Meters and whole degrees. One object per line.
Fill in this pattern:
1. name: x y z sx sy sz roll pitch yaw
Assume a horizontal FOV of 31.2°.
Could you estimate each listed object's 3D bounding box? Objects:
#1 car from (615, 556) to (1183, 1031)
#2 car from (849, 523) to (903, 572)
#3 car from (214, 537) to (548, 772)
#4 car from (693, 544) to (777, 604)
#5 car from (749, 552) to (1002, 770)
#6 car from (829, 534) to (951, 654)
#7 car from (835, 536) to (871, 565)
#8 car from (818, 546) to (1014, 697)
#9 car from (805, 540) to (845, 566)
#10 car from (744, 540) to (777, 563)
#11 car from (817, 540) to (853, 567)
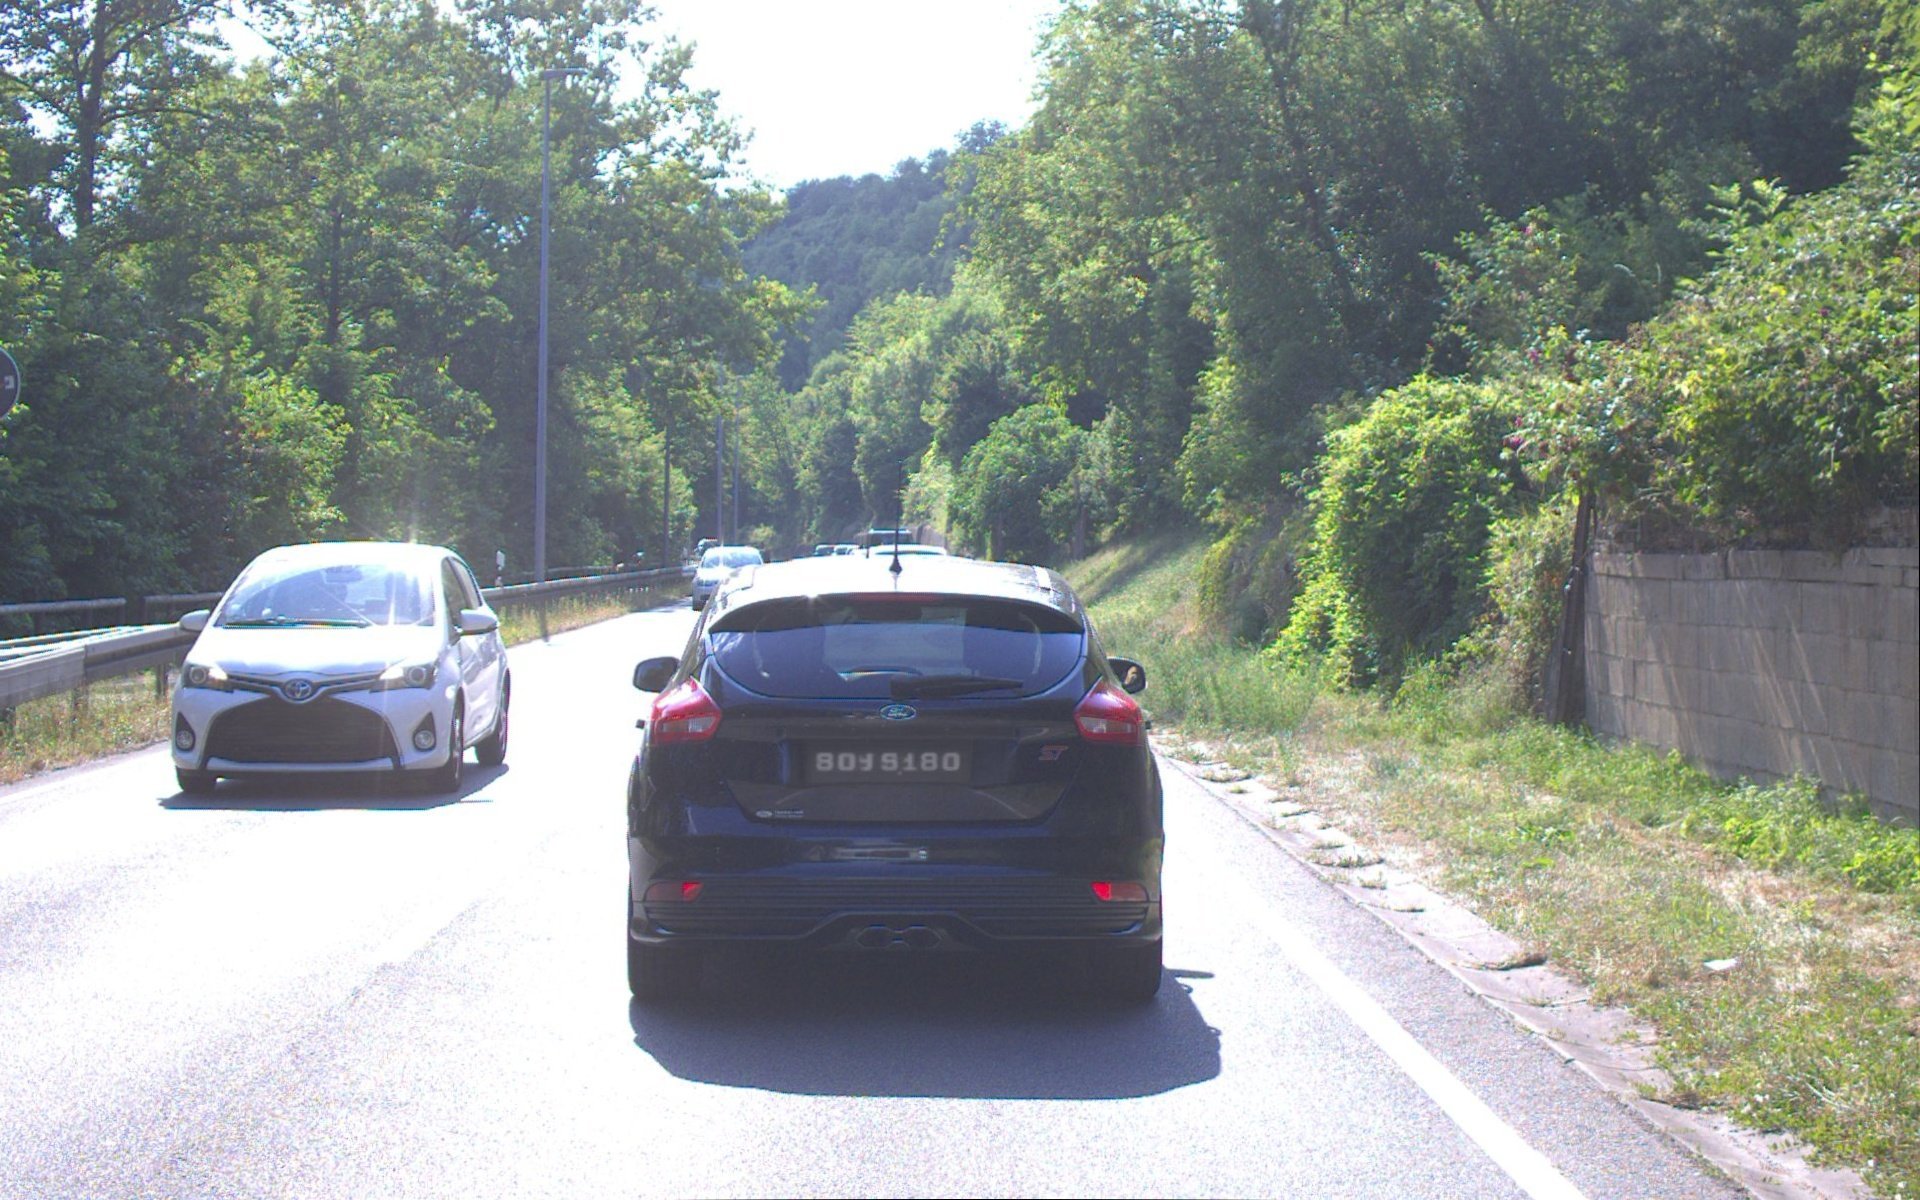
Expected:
1. car: -0.212 0.571 12.576 1.739 1.451 4.000 0 1 -1
2. car: -3.094 -1.951 126.353 1.863 1.774 4.001 0 1 -3
3. car: -3.885 0.307 23.665 1.681 1.458 4.198 0 1 -1
4. car: -5.324 -0.637 81.569 1.774 1.383 4.000 0 1 -1
5. car: -0.532 0.376 24.625 1.661 1.413 4.000 0 1 1
6. car: -0.958 -0.120 47.875 1.631 1.590 4.000 0 1 -1
7. car: -5.705 -2.643 183.087 1.819 1.514 4.000 0 1 -1
8. car: -0.433 0.168 33.812 1.804 1.387 4.000 0 1 -1
9. car: -8.065 -2.825 205.841 1.993 1.514 4.001 0 1 -8
10. car: -13.778 -3.364 237.583 1.993 1.514 4.001 0 1 -8
11. car: -7.122 -2.661 195.617 1.993 1.514 4.001 0 1 -3
